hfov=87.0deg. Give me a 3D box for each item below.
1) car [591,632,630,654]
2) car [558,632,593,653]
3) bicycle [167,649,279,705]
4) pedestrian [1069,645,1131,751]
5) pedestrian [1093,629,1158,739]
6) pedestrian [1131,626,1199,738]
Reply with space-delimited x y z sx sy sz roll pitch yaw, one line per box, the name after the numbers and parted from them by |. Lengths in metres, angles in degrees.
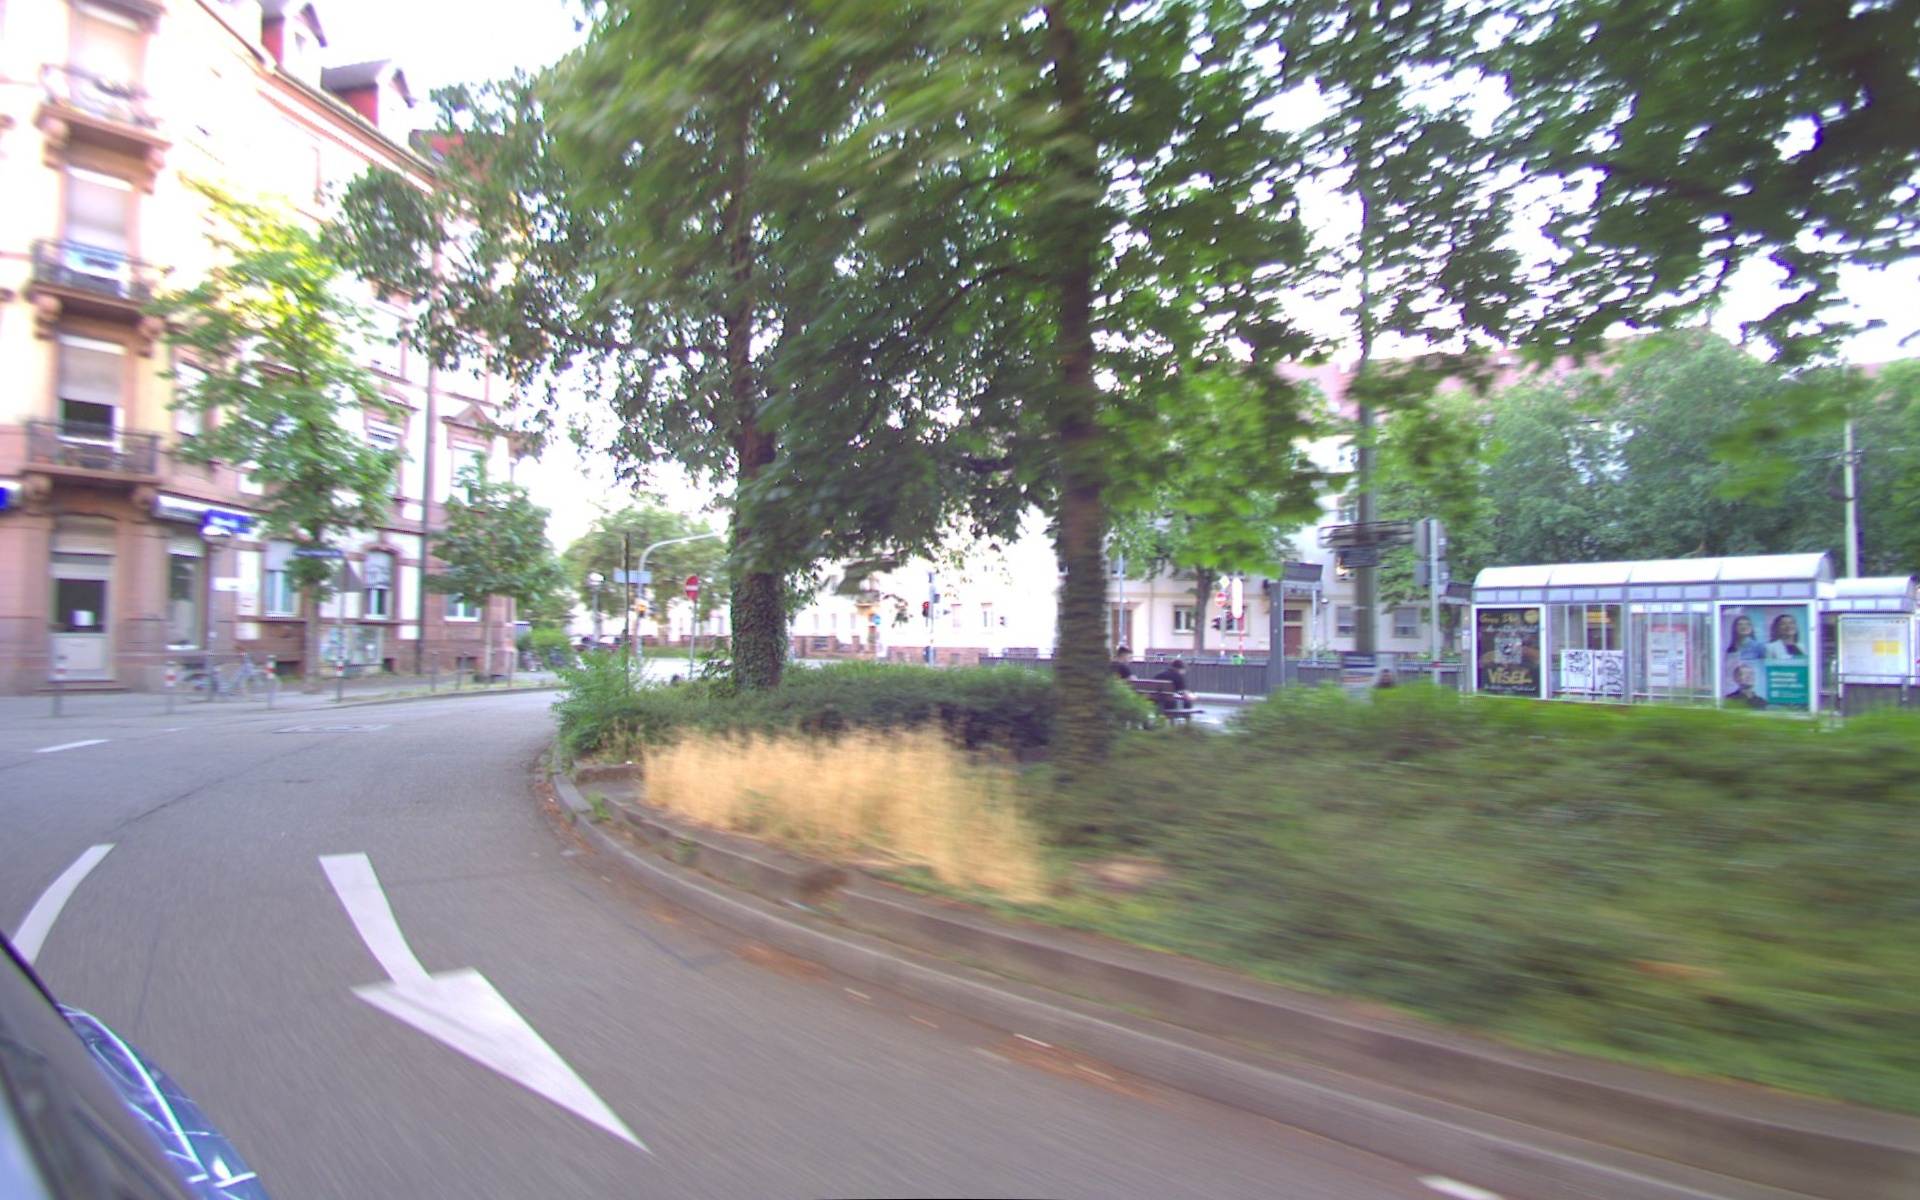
-30.354 3.752 87.754 1.880 1.864 4.007 3 -3 -39 | car
-35.998 3.959 94.653 1.880 1.864 4.007 3 -3 -39 | car
-15.005 1.554 20.650 1.767 1.091 0.562 2 -2 -31 | bicycle
1.965 1.358 14.263 0.644 1.442 0.620 1 -2 -16 | pedestrian
2.233 1.115 13.694 0.644 1.442 0.620 1 -2 -16 | pedestrian
2.709 1.070 13.402 0.644 1.442 0.620 1 -2 -16 | pedestrian
